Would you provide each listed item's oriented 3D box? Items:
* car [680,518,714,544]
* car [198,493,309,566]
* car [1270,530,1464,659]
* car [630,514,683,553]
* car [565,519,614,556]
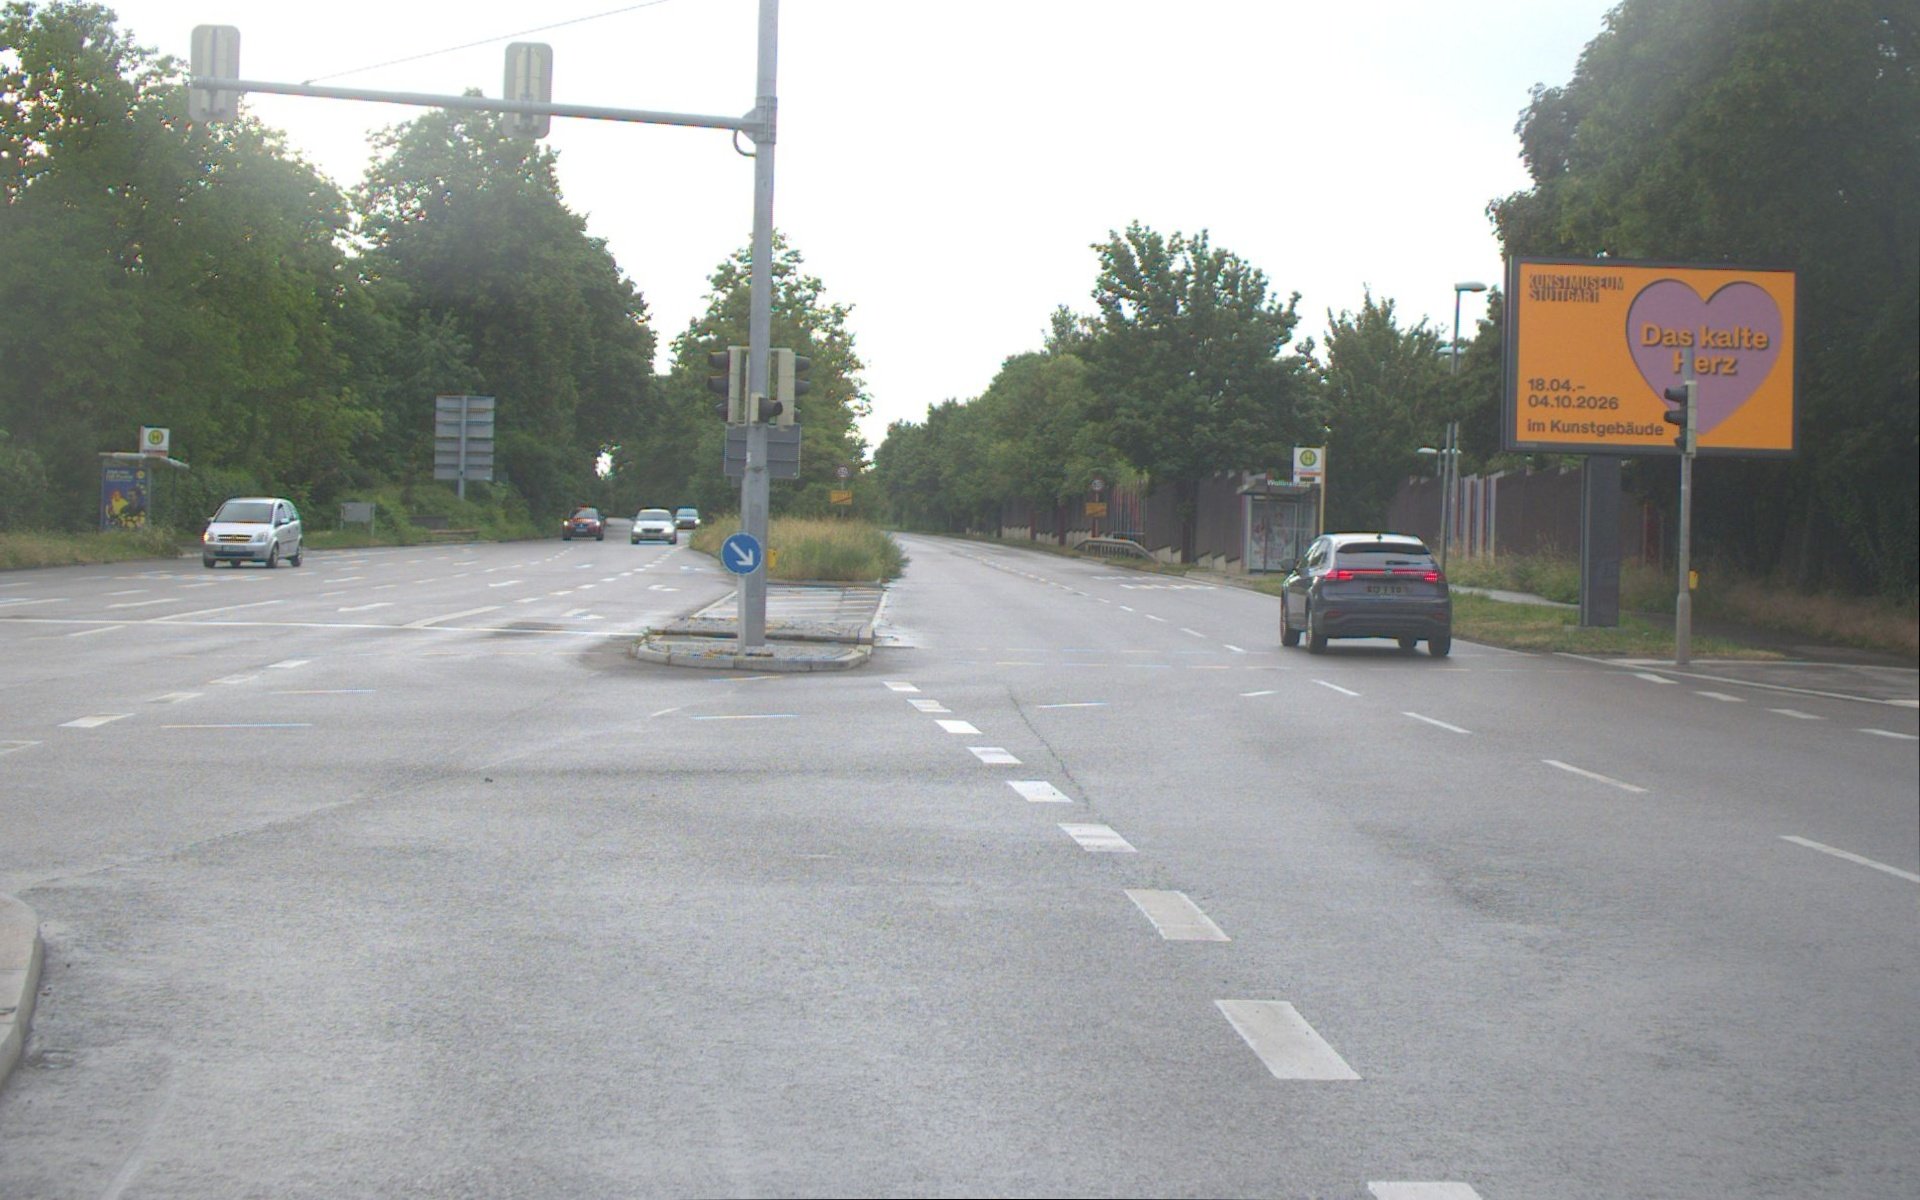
[{"bbox_3d":[-16.638,-4.363,217.455,1.893,1.590,4.489,2,1,-2],"label":"car"},{"bbox_3d":[-16.599,-1.647,80.941,1.768,1.590,4.489,2,1,-2],"label":"car"},{"bbox_3d":[5.024,-0.106,42.976,1.744,1.465,4.166,2,1,-2],"label":"car"},{"bbox_3d":[-12.575,-2.763,142.483,1.893,1.529,4.489,2,1,-2],"label":"car"},{"bbox_3d":[-17.019,-2.871,158.042,1.893,1.590,4.489,2,1,-2],"label":"car"}]
